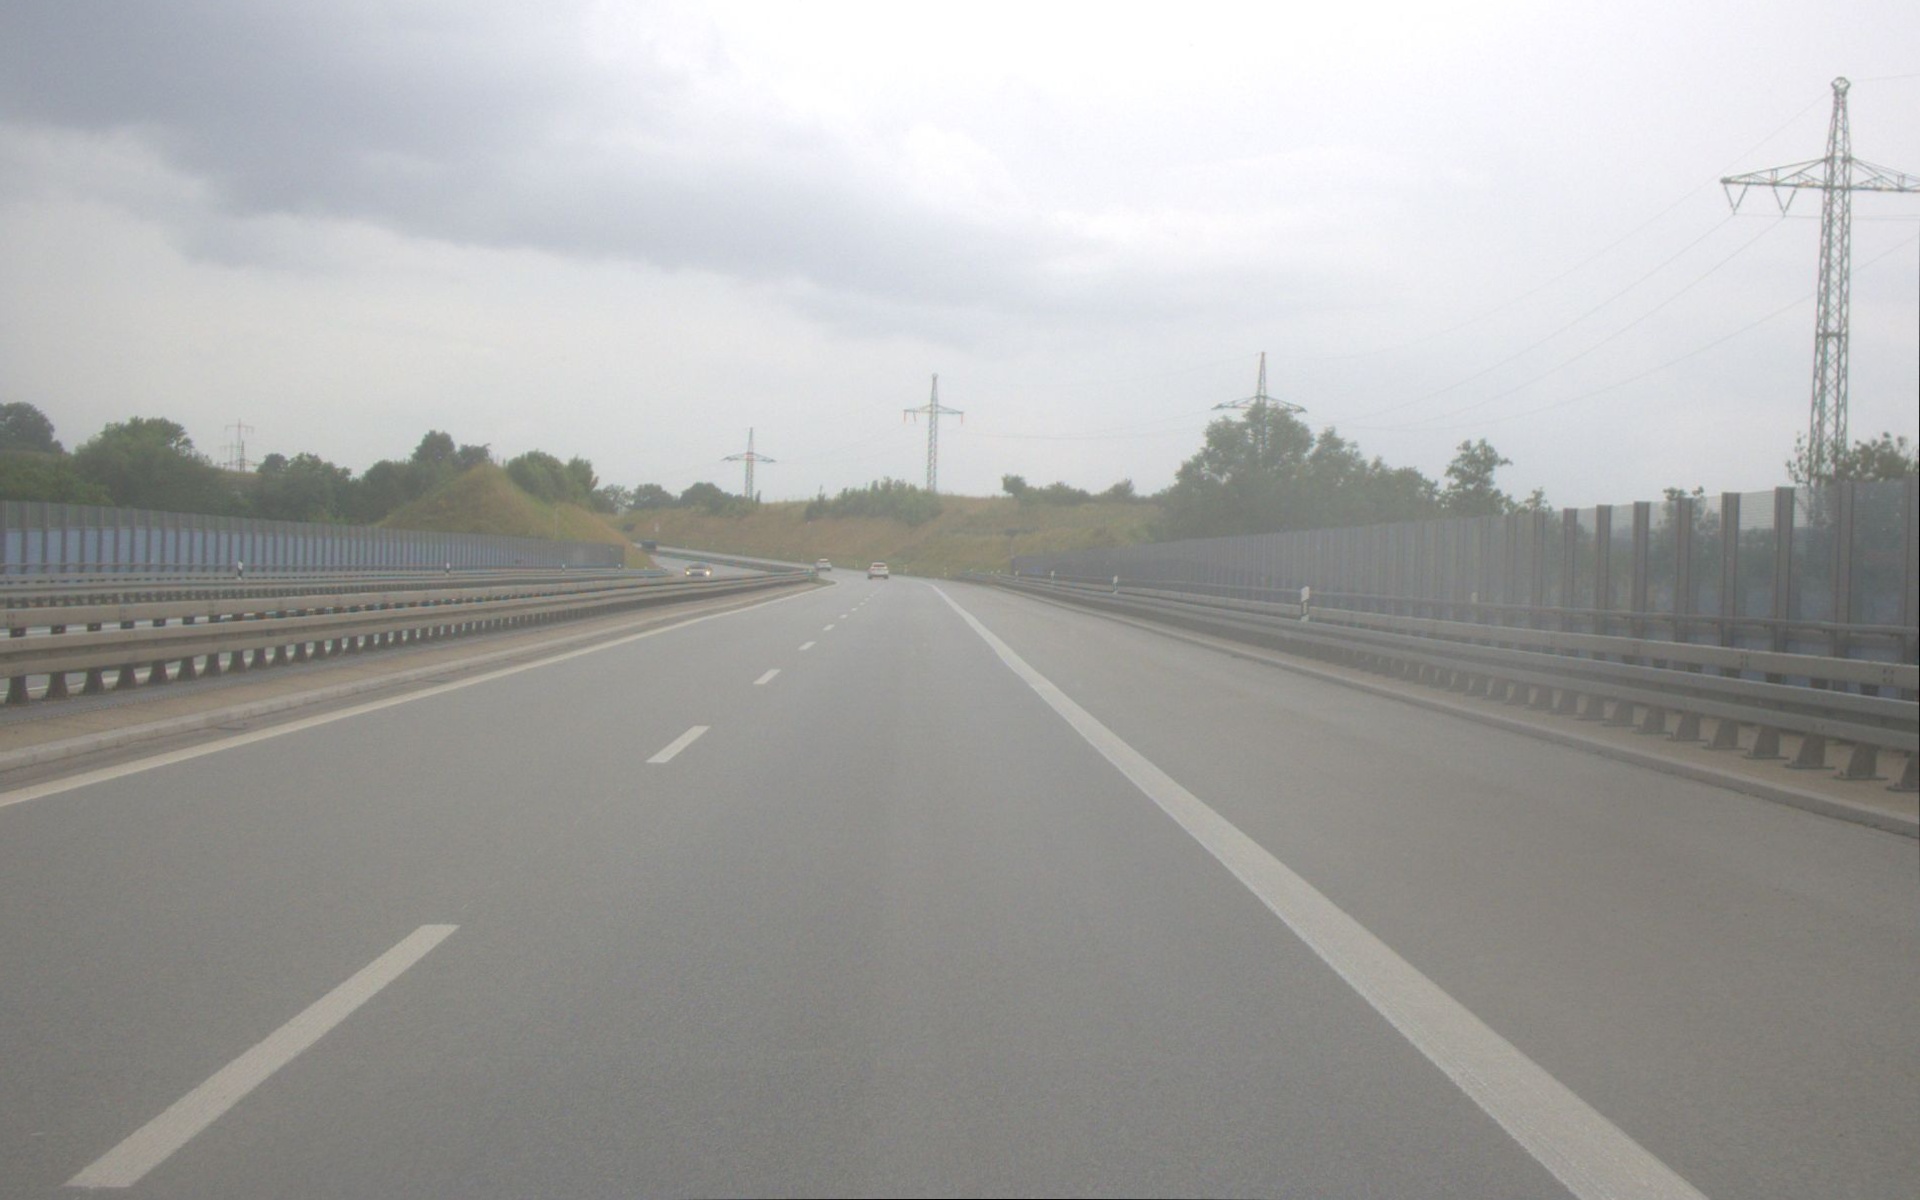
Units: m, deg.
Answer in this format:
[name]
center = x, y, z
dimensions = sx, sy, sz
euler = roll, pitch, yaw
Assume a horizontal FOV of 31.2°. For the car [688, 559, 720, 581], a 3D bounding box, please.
[car]
center = -17.994, -2.118, 241.748
dimensions = 1.993, 1.510, 4.288
euler = 1, 1, -1
